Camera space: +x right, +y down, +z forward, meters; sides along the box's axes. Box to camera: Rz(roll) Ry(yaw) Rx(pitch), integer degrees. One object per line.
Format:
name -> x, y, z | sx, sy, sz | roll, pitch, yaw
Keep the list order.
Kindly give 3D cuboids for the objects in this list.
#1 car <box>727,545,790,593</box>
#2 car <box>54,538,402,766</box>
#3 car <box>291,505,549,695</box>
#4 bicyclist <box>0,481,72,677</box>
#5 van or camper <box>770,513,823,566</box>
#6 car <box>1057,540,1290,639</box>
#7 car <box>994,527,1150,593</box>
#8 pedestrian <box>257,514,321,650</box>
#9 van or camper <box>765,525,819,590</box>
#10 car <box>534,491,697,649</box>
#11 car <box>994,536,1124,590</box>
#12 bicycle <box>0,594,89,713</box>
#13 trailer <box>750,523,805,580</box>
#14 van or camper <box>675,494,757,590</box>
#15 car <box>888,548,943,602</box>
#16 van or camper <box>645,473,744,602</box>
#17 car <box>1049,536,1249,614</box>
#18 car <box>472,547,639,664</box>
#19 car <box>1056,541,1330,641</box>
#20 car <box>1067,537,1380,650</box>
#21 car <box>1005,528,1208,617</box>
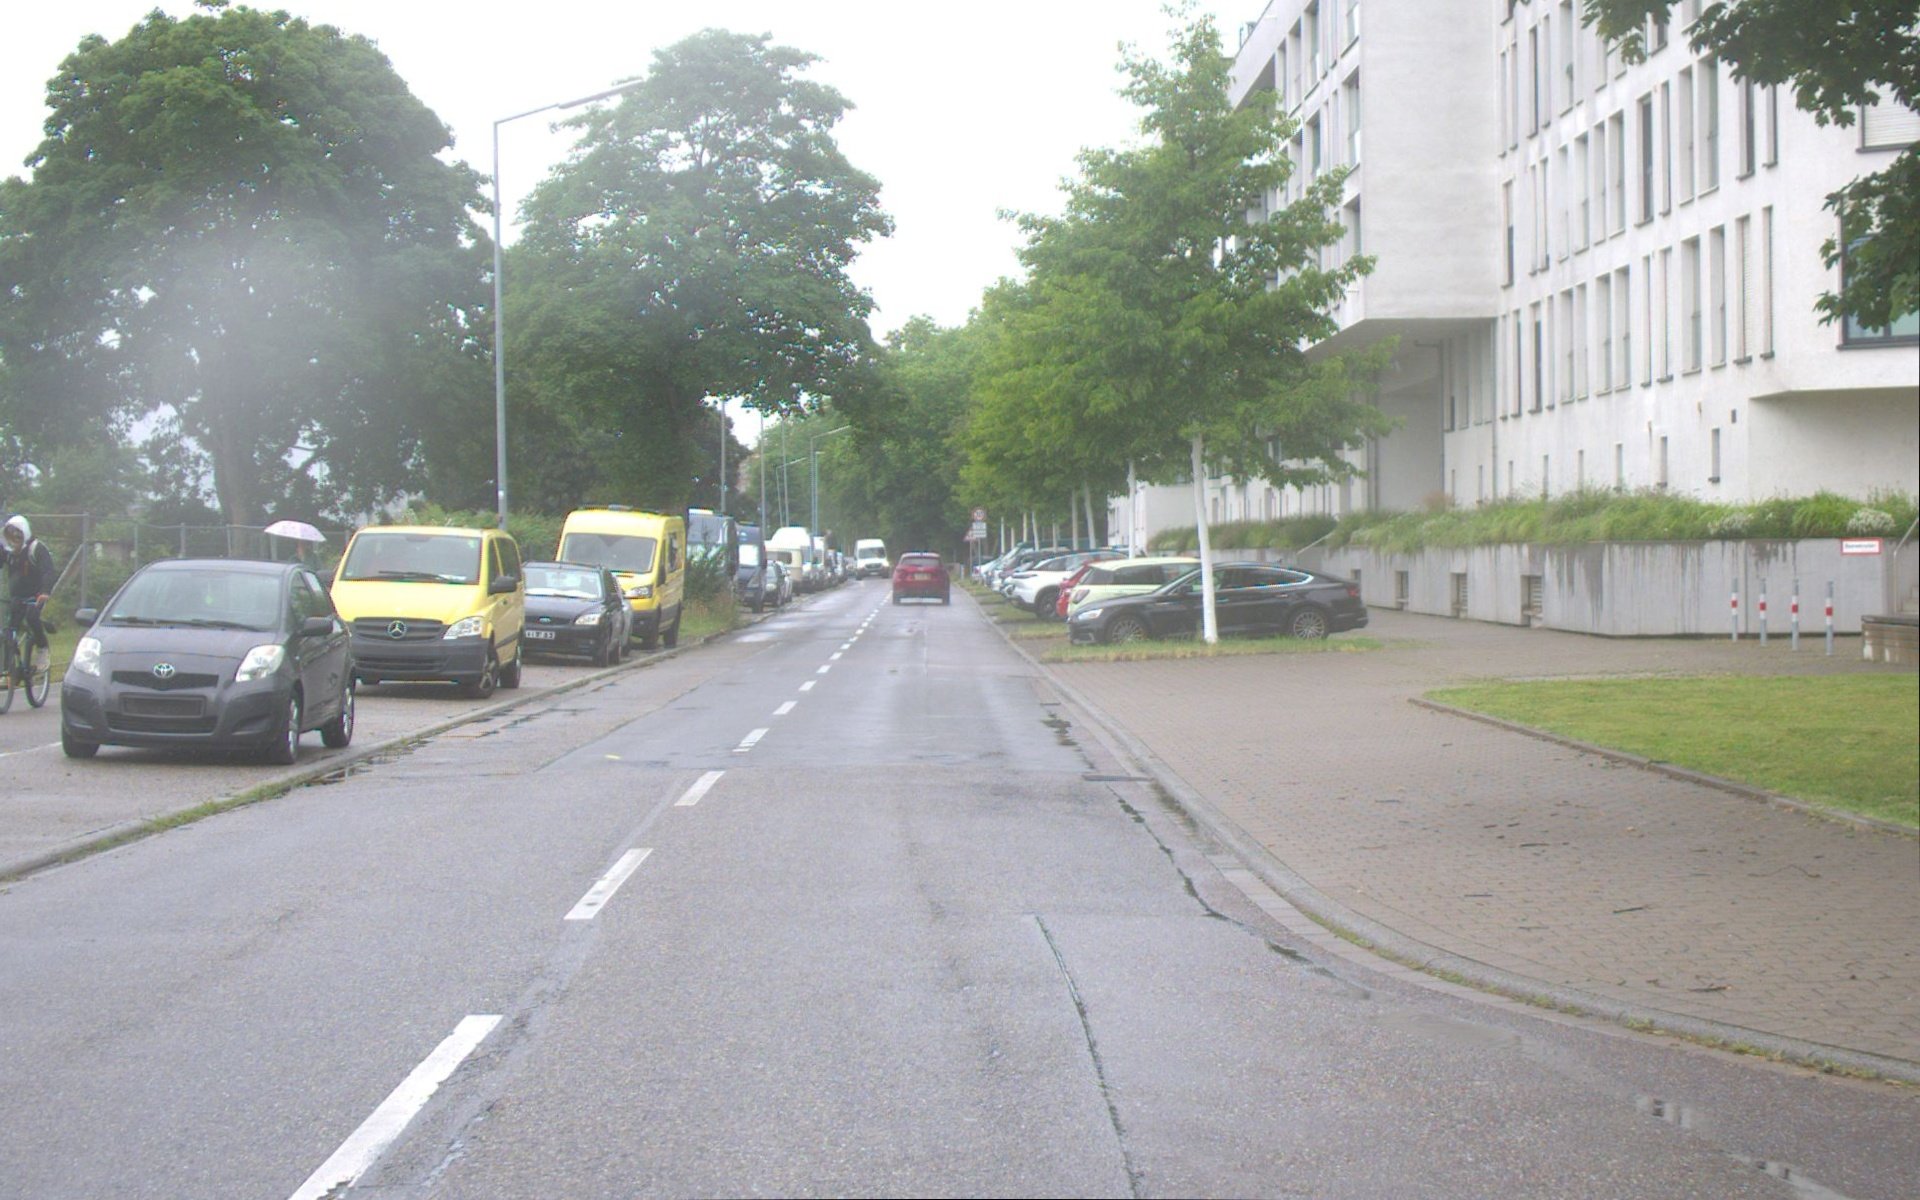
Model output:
car -> -6.749, -1.051, 115.380 | 1.774, 1.497, 4.828 | 2, 1, 0
car -> -5.579, 0.339, 26.665 | 1.804, 1.556, 4.033 | 2, 1, 0
car -> -6.062, -0.035, 39.339 | 2.017, 1.950, 6.065 | 2, 1, -1
bicyclist -> -8.902, -0.206, 32.605 | 0.698, 1.823, 1.008 | 1, 1, 0
van or camper -> -7.800, -2.890, 164.404 | 2.189, 2.453, 6.377 | 1, 1, 0
car -> 3.794, -0.201, 61.392 | 3.987, 1.550, 1.635 | -3, 1, 0
car -> 3.357, -1.217, 103.382 | 4.475, 1.681, 1.936 | -3, 2, -2
pedestrian -> -10.033, -0.275, 51.427 | 0.742, 2.007, 0.980 | 1, 1, 0
van or camper -> -7.402, -1.860, 152.051 | 1.993, 2.752, 7.898 | 1, 1, 0
car -> -6.299, -0.573, 63.585 | 2.192, 2.685, 6.081 | 2, 1, 1
car -> 3.104, -1.171, 108.069 | 3.987, 1.504, 1.684 | -2, 2, -1
bicycle -> -8.909, 0.487, 32.658 | 0.716, 1.038, 2.145 | 1, 1, 0
trailer -> -7.310, -1.951, 137.966 | 2.058, 2.210, 5.795 | 1, 1, -2
van or camper -> -7.306, -1.702, 103.683 | 2.094, 2.706, 7.575 | 2, 0, -2
car -> -1.436, -0.818, 111.141 | 1.756, 1.700, 4.000 | 0, 0, -1
van or camper -> -6.732, -1.550, 87.779 | 2.094, 3.084, 6.424 | 2, 0, -2
car -> 3.907, -0.514, 71.486 | 3.987, 1.446, 1.821 | -2, 0, -1
car -> -6.010, 0.053, 51.640 | 1.993, 1.588, 5.018 | 2, 0, -2
car -> 3.951, -0.157, 58.729 | 4.487, 1.476, 1.692 | -3, 1, 0
car -> 4.010, -0.105, 52.744 | 4.570, 1.492, 1.826 | -3, 1, -1
car -> 3.448, -0.659, 81.670 | 4.539, 1.679, 1.886 | -5, 1, -3
